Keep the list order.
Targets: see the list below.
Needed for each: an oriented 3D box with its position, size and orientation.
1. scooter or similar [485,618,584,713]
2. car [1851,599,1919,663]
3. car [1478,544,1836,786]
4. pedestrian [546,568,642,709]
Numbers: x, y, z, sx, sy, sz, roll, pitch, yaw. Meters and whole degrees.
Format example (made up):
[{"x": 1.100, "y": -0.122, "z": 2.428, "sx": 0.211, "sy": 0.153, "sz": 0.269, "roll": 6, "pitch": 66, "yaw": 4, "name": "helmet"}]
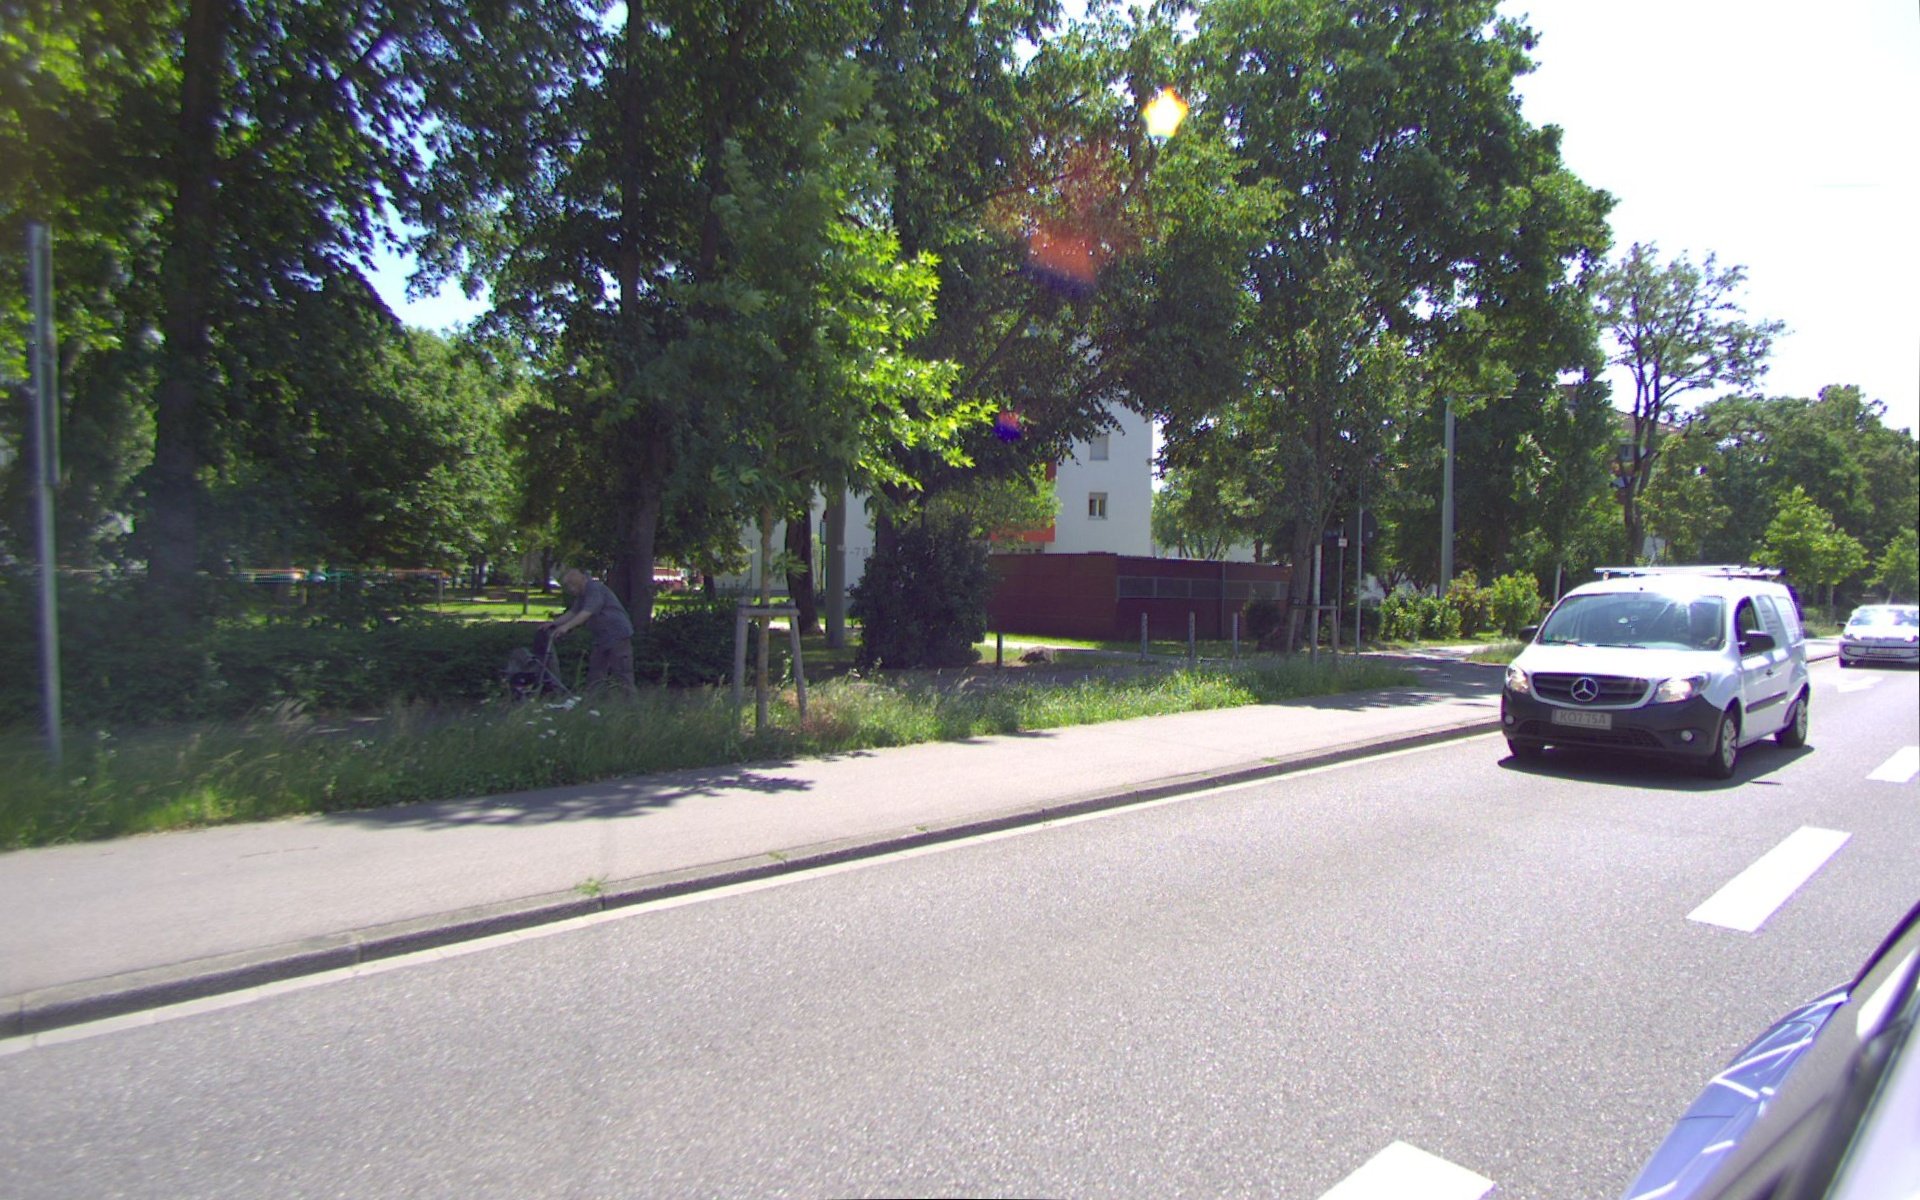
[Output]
[{"x": -4.314, "y": 0.641, "z": 10.268, "sx": 0.749, "sy": 0.904, "sz": 0.709, "roll": 1, "pitch": -1, "yaw": -40, "name": "scooter or similar"}, {"x": 22.840, "y": 0.711, "z": 24.487, "sx": 3.440, "sy": 1.459, "sz": 1.623, "roll": 0, "pitch": 0, "yaw": -43, "name": "car"}, {"x": 7.209, "y": 0.513, "z": 10.224, "sx": 4.993, "sy": 1.879, "sz": 1.808, "roll": 0, "pitch": 0, "yaw": -41, "name": "car"}, {"x": -3.859, "y": 0.387, "z": 10.662, "sx": 0.749, "sy": 1.416, "sz": 0.709, "roll": 1, "pitch": -1, "yaw": -40, "name": "pedestrian"}]
